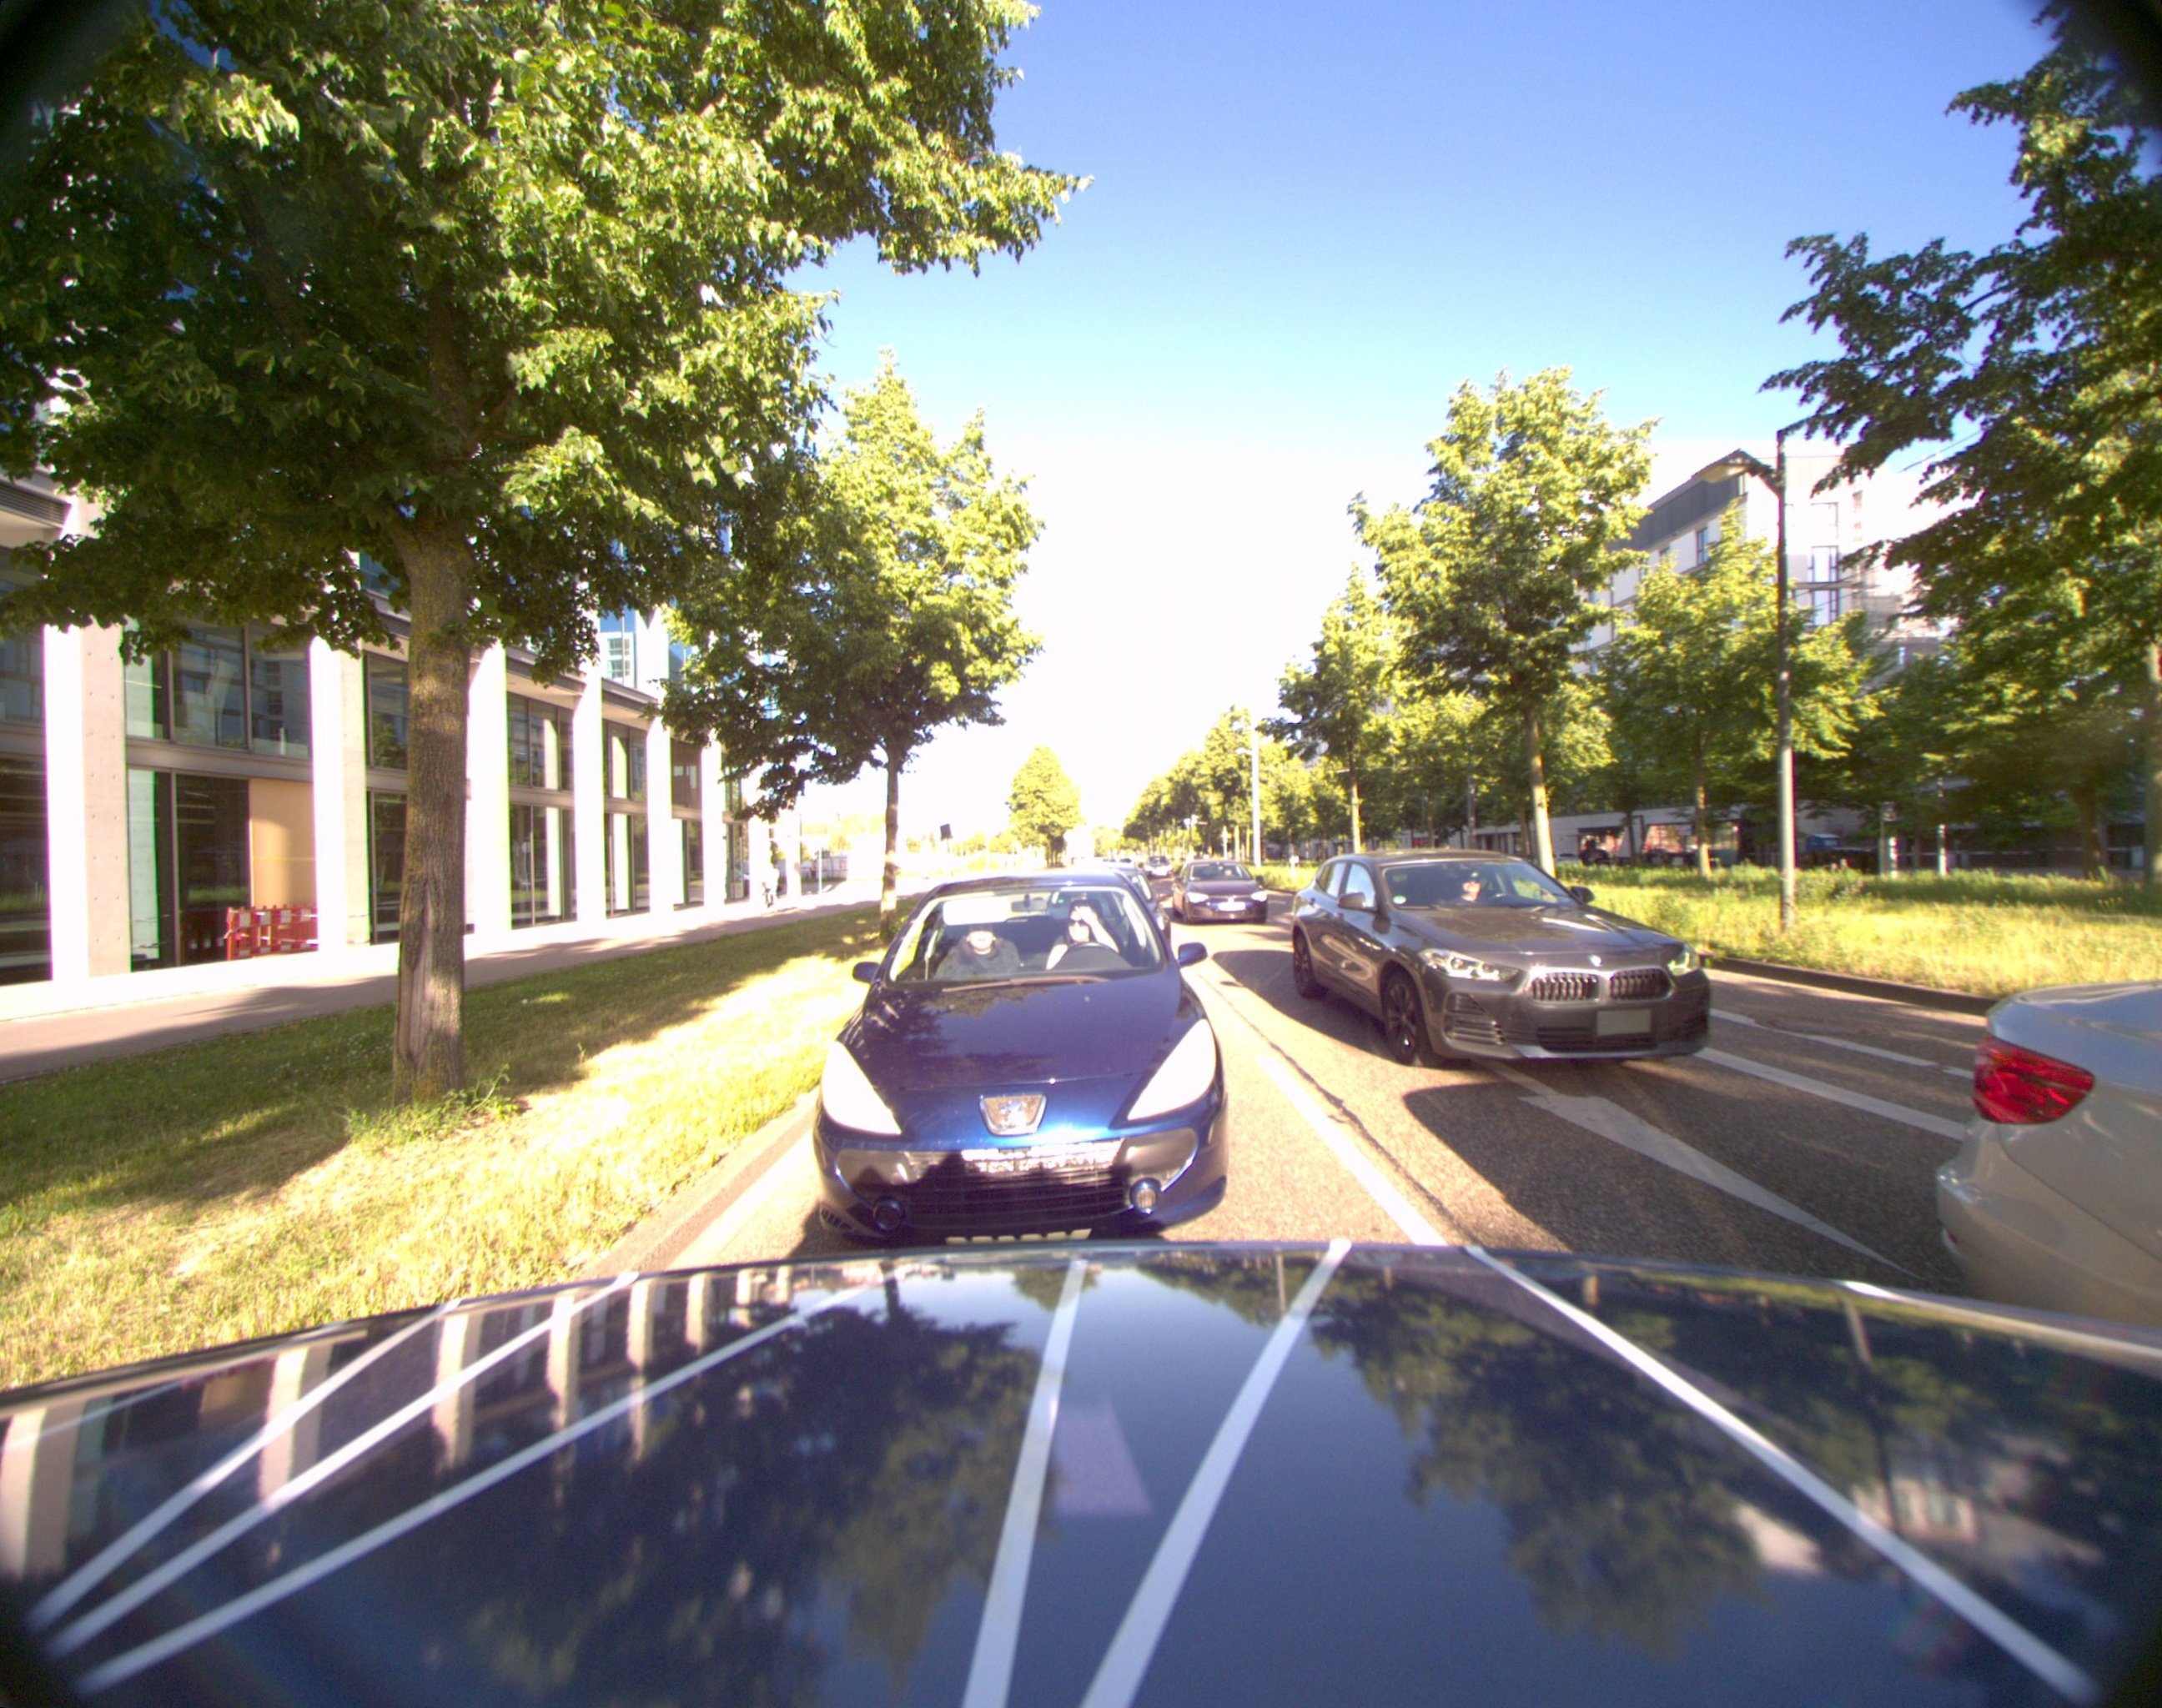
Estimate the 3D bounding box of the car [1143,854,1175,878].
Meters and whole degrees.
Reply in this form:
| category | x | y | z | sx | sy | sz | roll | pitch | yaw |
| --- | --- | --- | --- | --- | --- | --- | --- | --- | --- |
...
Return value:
| category | x | y | z | sx | sy | sz | roll | pitch | yaw |
| --- | --- | --- | --- | --- | --- | --- | --- | --- | --- |
| car | 5.389 | 0.808 | 52.779 | 1.878 | 1.577 | 4.344 | -1 | 0 | 2 |

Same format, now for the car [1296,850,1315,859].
| category | x | y | z | sx | sy | sz | roll | pitch | yaw |
| --- | --- | --- | --- | --- | --- | --- | --- | --- | --- |
| car | 36.618 | 0.016 | 124.156 | 1.998 | 1.387 | 4.000 | -1 | 0 | 1 |

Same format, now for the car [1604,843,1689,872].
| category | x | y | z | sx | sy | sz | roll | pitch | yaw |
| --- | --- | --- | --- | --- | --- | --- | --- | --- | --- |
| car | 33.430 | 0.175 | 45.042 | 1.951 | 1.588 | 4.184 | -1 | 0 | 1 |

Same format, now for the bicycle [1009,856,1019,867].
| category | x | y | z | sx | sy | sz | roll | pitch | yaw |
| --- | --- | --- | --- | --- | --- | --- | --- | --- | --- |
| bicycle | -9.026 | 1.032 | 102.721 | 0.931 | 1.355 | 4.000 | -1 | 0 | 1 |

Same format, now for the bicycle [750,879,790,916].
| category | x | y | z | sx | sy | sz | roll | pitch | yaw |
| --- | --- | --- | --- | --- | --- | --- | --- | --- | --- |
| bicycle | -10.355 | 1.440 | 25.373 | 0.591 | 1.149 | 1.927 | 1 | 0 | -2 |

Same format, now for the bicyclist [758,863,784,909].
| category | x | y | z | sx | sy | sz | roll | pitch | yaw |
| --- | --- | --- | --- | --- | --- | --- | --- | --- | --- |
| bicyclist | -10.347 | 1.052 | 25.367 | 0.591 | 1.530 | 0.699 | 1 | 0 | -2 |

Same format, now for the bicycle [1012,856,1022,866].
| category | x | y | z | sx | sy | sz | roll | pitch | yaw |
| --- | --- | --- | --- | --- | --- | --- | --- | --- | --- |
| bicycle | -8.996 | 0.993 | 106.875 | 0.931 | 1.355 | 4.000 | -1 | 0 | 1 |

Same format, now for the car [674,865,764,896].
| category | x | y | z | sx | sy | sz | roll | pitch | yaw |
| --- | --- | --- | --- | --- | --- | --- | --- | --- | --- |
| car | -20.037 | 1.431 | 42.155 | 3.996 | 1.569 | 2.000 | -1 | 0 | 3 |

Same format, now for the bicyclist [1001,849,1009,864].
| category | x | y | z | sx | sy | sz | roll | pitch | yaw |
| --- | --- | --- | --- | --- | --- | --- | --- | --- | --- |
| bicyclist | -10.216 | 0.326 | 102.423 | 0.931 | 2.045 | 1.121 | -1 | 1 | 1 |

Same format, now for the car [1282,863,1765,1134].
| category | x | y | z | sx | sy | sz | roll | pitch | yaw |
| --- | --- | --- | --- | --- | --- | --- | --- | --- | --- |
| car | 3.088 | 0.870 | 6.406 | 1.861 | 1.482 | 4.000 | -1 | 0 | 3 |

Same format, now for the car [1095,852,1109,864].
| category | x | y | z | sx | sy | sz | roll | pitch | yaw |
| --- | --- | --- | --- | --- | --- | --- | --- | --- | --- |
| car | 2.957 | 0.578 | 106.480 | 1.879 | 1.561 | 4.344 | -1 | 0 | 1 |

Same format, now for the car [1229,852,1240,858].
| category | x | y | z | sx | sy | sz | roll | pitch | yaw |
| --- | --- | --- | --- | --- | --- | --- | --- | --- | --- |
| car | 36.126 | 0.178 | 179.234 | 1.998 | 1.387 | 4.001 | -1 | 0 | 4 |

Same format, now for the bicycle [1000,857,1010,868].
| category | x | y | z | sx | sy | sz | roll | pitch | yaw |
| --- | --- | --- | --- | --- | --- | --- | --- | --- | --- |
| bicycle | -10.206 | 1.109 | 102.413 | 0.931 | 1.355 | 4.000 | -1 | 0 | 1 |

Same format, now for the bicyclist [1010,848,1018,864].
| category | x | y | z | sx | sy | sz | roll | pitch | yaw |
| --- | --- | --- | --- | --- | --- | --- | --- | --- | --- |
| bicyclist | -9.048 | 0.251 | 102.624 | 0.931 | 2.045 | 1.121 | -1 | 1 | 1 |

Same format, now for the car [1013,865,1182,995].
| category | x | y | z | sx | sy | sz | roll | pitch | yaw |
| --- | --- | --- | --- | --- | --- | --- | --- | --- | --- |
| car | 0.224 | 0.954 | 11.461 | 1.998 | 1.437 | 4.622 | -1 | 0 | 1 |

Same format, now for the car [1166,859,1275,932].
| category | x | y | z | sx | sy | sz | roll | pitch | yaw |
| --- | --- | --- | --- | --- | --- | --- | --- | --- | --- |
| car | 3.118 | 0.870 | 17.843 | 1.878 | 1.415 | 4.344 | -1 | 0 | 2 |

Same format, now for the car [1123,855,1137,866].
| category | x | y | z | sx | sy | sz | roll | pitch | yaw |
| --- | --- | --- | --- | --- | --- | --- | --- | --- | --- |
| car | 7.141 | 0.892 | 110.994 | 1.878 | 1.561 | 4.344 | -1 | 0 | 2 |

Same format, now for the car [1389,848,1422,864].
| category | x | y | z | sx | sy | sz | roll | pitch | yaw |
| --- | --- | --- | --- | --- | --- | --- | --- | --- | --- |
| car | 35.449 | 0.202 | 83.106 | 1.884 | 1.588 | 4.184 | -1 | 0 | 1 |

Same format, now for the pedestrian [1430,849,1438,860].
| category | x | y | z | sx | sy | sz | roll | pitch | yaw |
| --- | --- | --- | --- | --- | --- | --- | --- | --- | --- |
| pedestrian | 41.892 | 0.090 | 90.198 | 0.604 | 1.331 | 0.660 | -1 | 1 | 1 |

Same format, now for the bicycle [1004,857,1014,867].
| category | x | y | z | sx | sy | sz | roll | pitch | yaw |
| --- | --- | --- | --- | --- | --- | --- | --- | --- | --- |
| bicycle | -10.147 | 1.066 | 106.799 | 0.931 | 1.355 | 4.000 | -1 | 0 | 1 |

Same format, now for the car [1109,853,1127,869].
| category | x | y | z | sx | sy | sz | roll | pitch | yaw |
| --- | --- | --- | --- | --- | --- | --- | --- | --- | --- |
| car | 4.010 | 0.729 | 82.690 | 1.878 | 1.561 | 4.344 | -1 | 0 | 2 |

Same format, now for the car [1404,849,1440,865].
| category | x | y | z | sx | sy | sz | roll | pitch | yaw |
| --- | --- | --- | --- | --- | --- | --- | --- | --- | --- |
| car | 35.037 | 0.271 | 78.198 | 1.884 | 1.588 | 4.184 | -1 | 0 | 1 |

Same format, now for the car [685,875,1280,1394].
| category | x | y | z | sx | sy | sz | roll | pitch | yaw |
| --- | --- | --- | --- | --- | --- | --- | --- | --- | --- |
| car | -0.284 | 0.956 | 4.649 | 1.846 | 1.473 | 4.481 | -2 | 0 | 1 |

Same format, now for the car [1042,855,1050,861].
| category | x | y | z | sx | sy | sz | roll | pitch | yaw |
| --- | --- | --- | --- | --- | --- | --- | --- | --- | --- |
| car | -9.046 | 1.040 | 196.714 | 1.998 | 1.556 | 4.835 | -1 | 0 | 1 |

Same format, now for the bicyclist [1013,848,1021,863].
| category | x | y | z | sx | sy | sz | roll | pitch | yaw |
| --- | --- | --- | --- | --- | --- | --- | --- | --- | --- |
| bicyclist | -8.998 | 0.211 | 106.785 | 0.931 | 2.045 | 1.121 | -1 | 1 | 1 |

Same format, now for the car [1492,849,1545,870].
| category | x | y | z | sx | sy | sz | roll | pitch | yaw |
| --- | --- | --- | --- | --- | --- | --- | --- | --- | --- |
| car | 35.194 | 0.413 | 61.233 | 1.884 | 1.588 | 4.184 | -1 | 0 | 1 |

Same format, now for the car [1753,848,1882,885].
| category | x | y | z | sx | sy | sz | roll | pitch | yaw |
| --- | --- | --- | --- | --- | --- | --- | --- | --- | --- |
| car | 34.090 | 0.543 | 35.354 | 1.951 | 1.588 | 4.184 | -1 | 0 | 1 |

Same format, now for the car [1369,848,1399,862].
| category | x | y | z | sx | sy | sz | roll | pitch | yaw |
| --- | --- | --- | --- | --- | --- | --- | --- | --- | --- |
| car | 35.507 | 0.145 | 89.027 | 1.884 | 1.588 | 4.184 | -1 | 0 | 1 |

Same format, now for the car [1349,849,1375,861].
| category | x | y | z | sx | sy | sz | roll | pitch | yaw |
| --- | --- | --- | --- | --- | --- | --- | --- | --- | --- |
| car | 35.398 | 0.152 | 95.783 | 1.998 | 1.387 | 4.001 | -1 | 0 | 4 |

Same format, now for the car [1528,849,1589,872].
| category | x | y | z | sx | sy | sz | roll | pitch | yaw |
| --- | --- | --- | --- | --- | --- | --- | --- | --- | --- |
| car | 34.907 | 0.480 | 55.647 | 1.884 | 1.588 | 4.184 | -1 | 0 | 1 |

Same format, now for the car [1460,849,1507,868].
| category | x | y | z | sx | sy | sz | roll | pitch | yaw |
| --- | --- | --- | --- | --- | --- | --- | --- | --- | --- |
| car | 35.160 | 0.368 | 66.516 | 1.884 | 1.588 | 4.184 | -1 | 0 | 1 |

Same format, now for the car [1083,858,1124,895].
| category | x | y | z | sx | sy | sz | roll | pitch | yaw |
| --- | --- | --- | --- | --- | --- | --- | --- | --- | --- |
| car | 0.993 | 0.969 | 34.449 | 1.724 | 1.516 | 4.000 | -1 | 0 | 1 |
